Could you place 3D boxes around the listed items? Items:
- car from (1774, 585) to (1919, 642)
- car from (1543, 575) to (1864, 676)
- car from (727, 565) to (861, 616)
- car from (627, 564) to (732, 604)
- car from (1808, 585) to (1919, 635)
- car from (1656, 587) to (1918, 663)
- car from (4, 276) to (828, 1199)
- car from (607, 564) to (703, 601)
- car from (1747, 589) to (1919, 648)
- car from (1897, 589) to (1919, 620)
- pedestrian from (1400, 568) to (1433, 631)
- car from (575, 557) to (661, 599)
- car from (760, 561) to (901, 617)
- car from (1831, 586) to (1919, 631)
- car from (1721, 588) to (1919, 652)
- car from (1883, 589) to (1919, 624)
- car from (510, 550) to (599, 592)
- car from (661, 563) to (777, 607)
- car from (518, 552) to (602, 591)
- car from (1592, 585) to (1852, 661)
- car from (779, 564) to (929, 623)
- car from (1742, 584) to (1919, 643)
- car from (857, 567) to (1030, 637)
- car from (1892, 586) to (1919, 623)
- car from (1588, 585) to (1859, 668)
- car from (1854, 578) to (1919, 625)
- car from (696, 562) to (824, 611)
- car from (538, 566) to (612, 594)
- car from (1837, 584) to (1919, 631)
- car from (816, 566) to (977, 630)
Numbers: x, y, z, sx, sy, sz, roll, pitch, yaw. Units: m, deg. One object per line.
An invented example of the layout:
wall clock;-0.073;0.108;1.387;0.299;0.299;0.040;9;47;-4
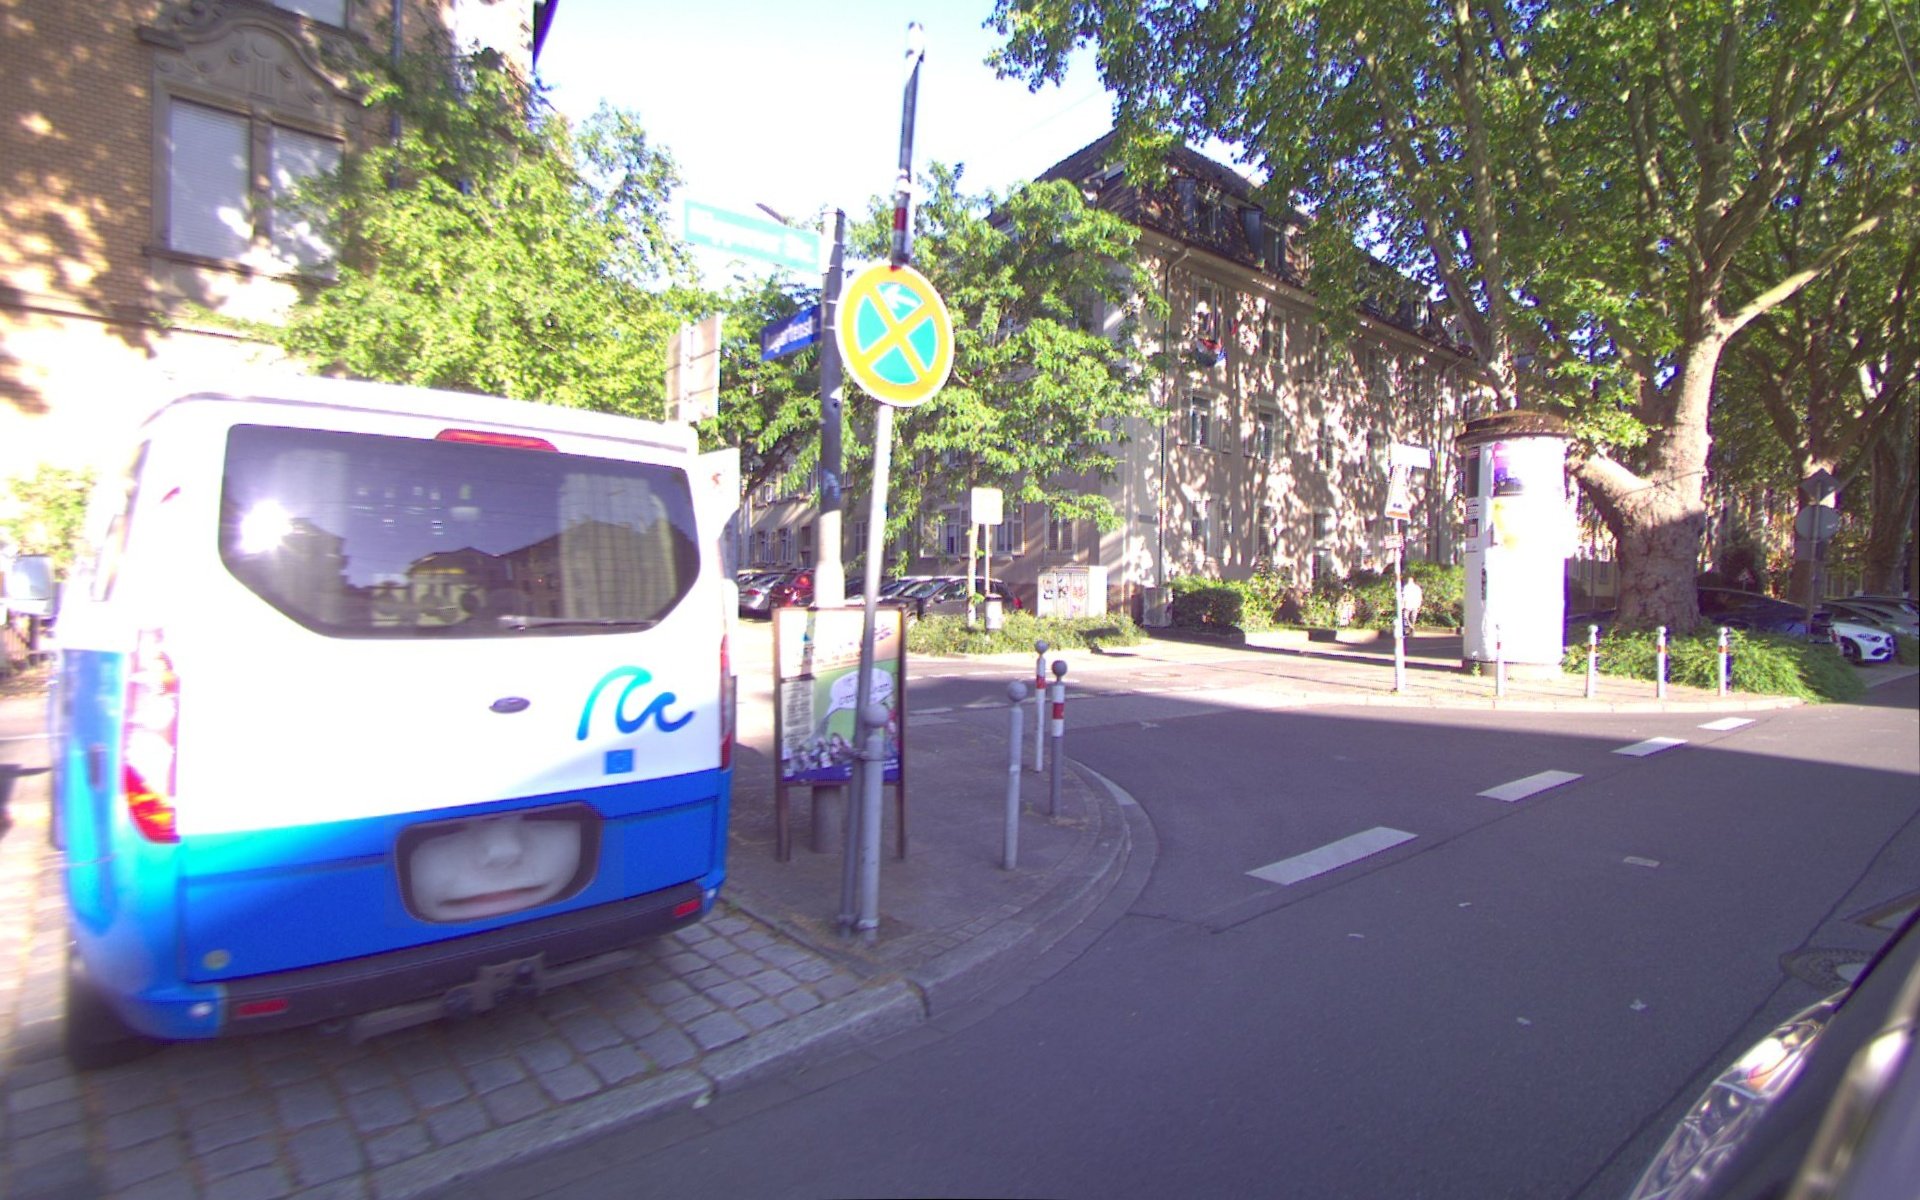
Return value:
car;29.503;0.423;32.748;1.858;1.661;4.614;1;1;-37
car;14.579;0.419;20.118;1.859;1.651;4.809;1;2;-40
car;-5.394;-0.311;33.003;3.921;1.554;1.732;0;1;-31
car;-11.756;-0.669;42.421;3.921;1.602;1.732;0;1;-31
car;34.357;0.392;37.137;1.858;1.661;4.614;1;1;-37
car;19.984;0.549;24.647;1.858;1.513;4.614;1;1;-37
car;-2.944;0.189;4.716;2.157;2.038;4.852;0;3;-43
car;-14.006;-0.783;46.555;3.921;1.602;1.732;0;1;-31
car;26.354;0.518;29.860;1.858;1.513;4.614;1;1;-37
car;54.974;0.344;55.786;1.858;1.736;4.614;1;1;-37
pedestrian;13.083;-0.016;29.015;0.630;1.789;0.620;1;1;4
car;-17.668;-1.130;52.309;3.921;2.019;1.802;1;2;-31
car;-3.967;-0.332;31.079;3.921;1.602;1.732;0;1;-31
car;37.396;0.377;39.678;1.858;1.661;4.614;1;1;-37
car;24.565;0.524;28.520;1.858;1.513;4.614;1;1;-37
car;47.928;0.400;48.905;1.858;1.661;4.614;1;1;-37
car;-26.994;-1.890;67.359;5.198;2.642;2.145;1;1;-31
car;-9.151;-0.560;38.514;3.921;1.602;1.732;0;1;-31
car;-28.010;-1.976;70.937;5.198;2.642;2.145;1;1;-31
car;17.674;0.481;23.687;1.858;1.462;4.512;1;1;-37
car;-3.026;-0.182;29.137;3.921;1.602;1.732;0;1;-31
car;27.738;0.390;31.844;1.858;1.585;4.614;1;1;-37
car;-0.386;0.031;24.933;3.921;1.602;1.732;0;1;-31
car;49.718;0.308;50.349;1.858;1.814;4.614;1;1;-37
car;16.272;0.502;21.741;1.860;1.462;4.363;1;2;-42
car;43.603;0.103;45.630;1.858;2.038;4.639;1;1;-37
car;-6.823;-0.453;34.639;3.921;1.602;1.732;0;1;-31
car;-23.465;-1.206;61.700;3.921;1.602;1.732;0;1;-31
car;39.144;0.361;41.427;1.858;1.814;4.614;1;1;-37
car;-1.684;-0.062;27.113;3.921;1.602;1.732;0;1;-31
